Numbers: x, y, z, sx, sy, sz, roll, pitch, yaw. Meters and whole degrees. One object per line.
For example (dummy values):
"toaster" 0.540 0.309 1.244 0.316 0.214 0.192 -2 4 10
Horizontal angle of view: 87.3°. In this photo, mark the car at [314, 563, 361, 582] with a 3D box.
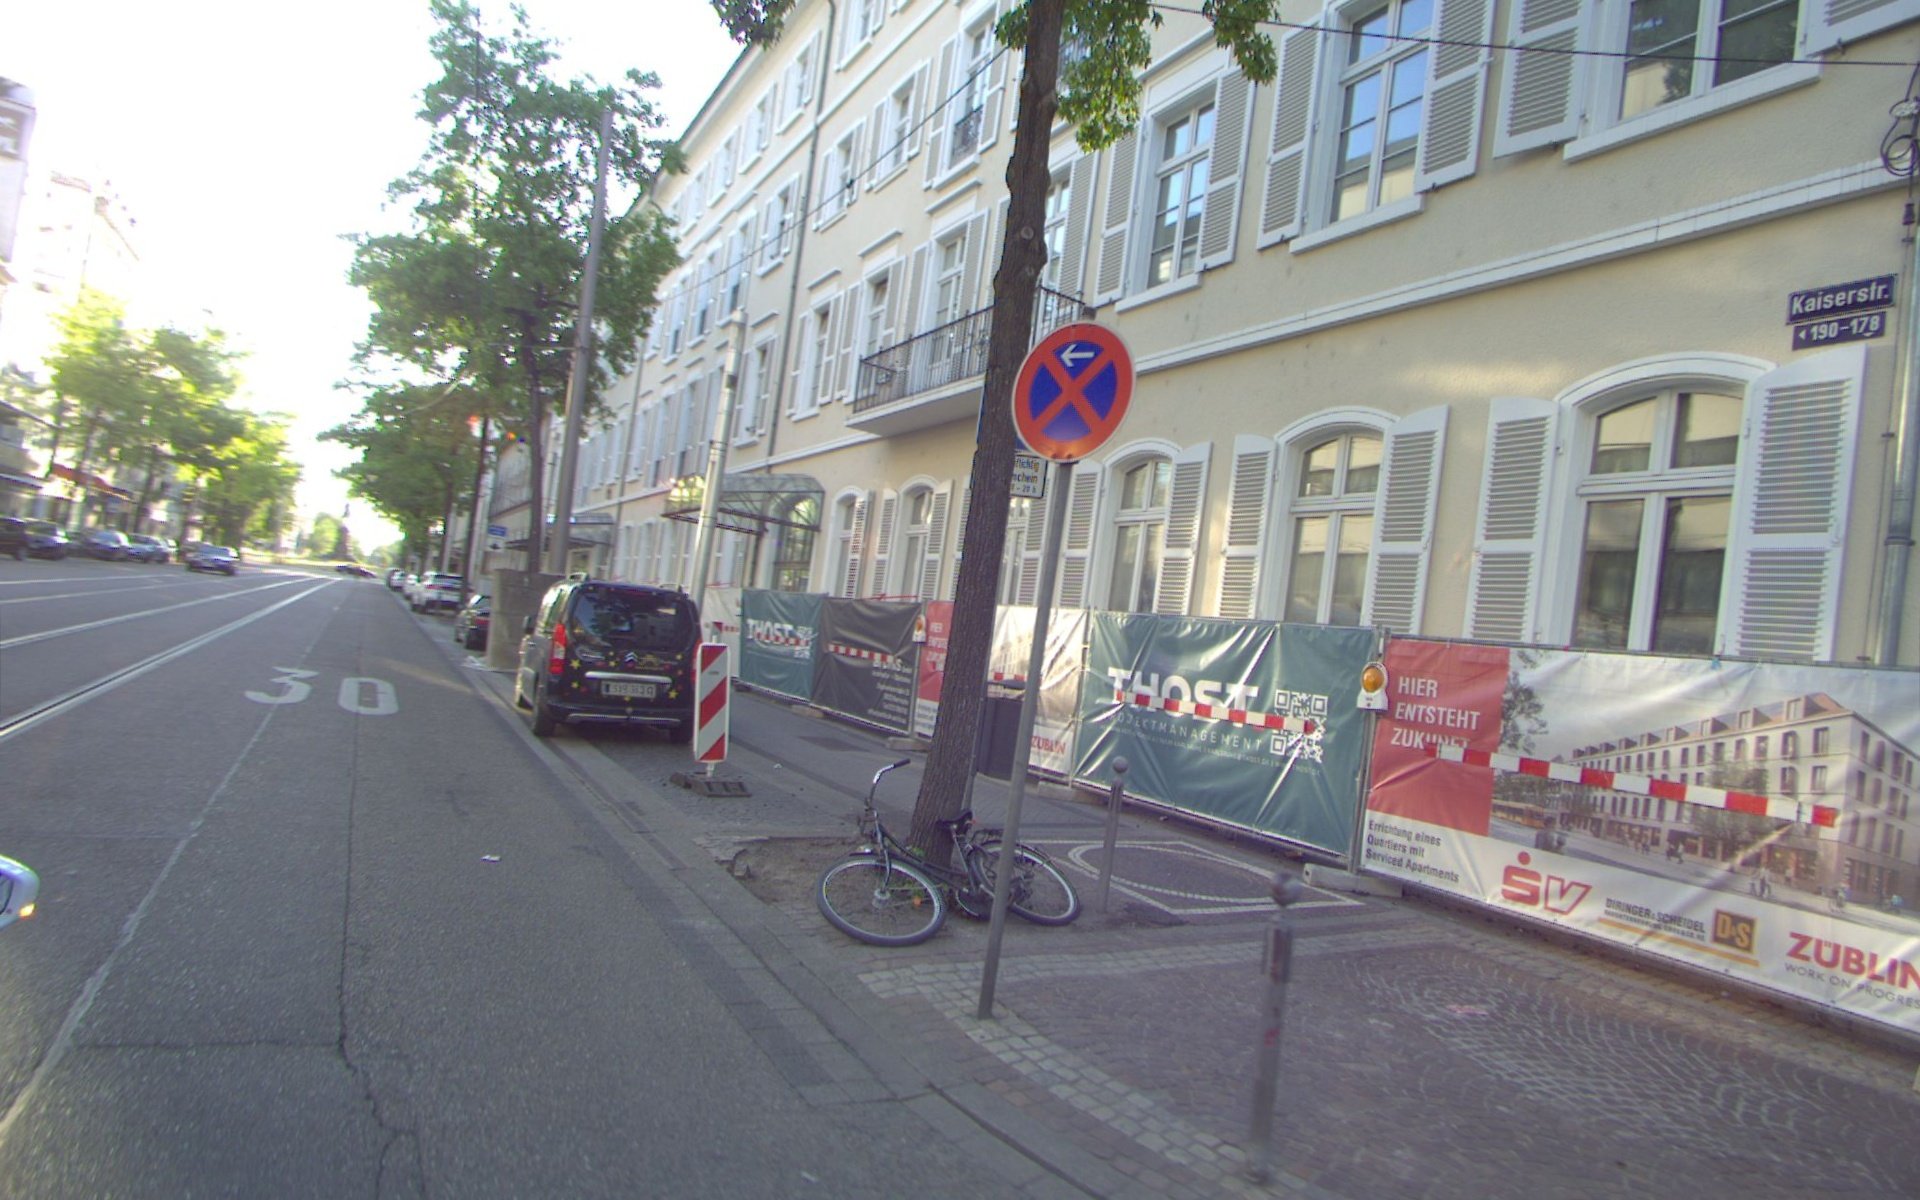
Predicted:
"car" -76.927 -3.389 124.465 4.639 1.702 1.986 9 -3 -29

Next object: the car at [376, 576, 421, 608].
"car" -30.413 -0.464 54.440 1.898 1.437 4.852 7 -2 -30

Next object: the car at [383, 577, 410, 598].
"car" -52.220 -1.190 93.187 1.923 1.781 4.645 5 -1 -30

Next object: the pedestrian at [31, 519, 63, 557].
"pedestrian" -44.643 -3.008 49.203 0.838 1.712 0.734 9 -2 -31

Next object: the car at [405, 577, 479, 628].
"car" -20.840 0.061 40.388 1.985 1.707 4.927 7 -3 -33

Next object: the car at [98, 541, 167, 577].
"car" -44.955 -2.194 54.725 1.752 1.513 4.152 9 -4 -25

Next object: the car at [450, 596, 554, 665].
"car" -11.239 0.688 24.525 1.780 1.326 4.298 7 -2 -30

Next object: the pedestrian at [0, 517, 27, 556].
"pedestrian" -45.546 -3.039 48.294 0.784 1.712 0.906 9 -2 -31

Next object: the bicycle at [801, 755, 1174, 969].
"bicycle" 0.055 1.435 5.745 1.729 0.756 1.561 7 -3 -13

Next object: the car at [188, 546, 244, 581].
"car" -37.155 -1.809 50.315 1.768 1.423 4.491 9 -3 -32

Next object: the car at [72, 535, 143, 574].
"car" -41.432 -2.175 48.991 1.701 1.476 4.453 11 -4 -30

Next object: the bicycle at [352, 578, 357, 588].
"bicycle" -60.323 -1.708 100.225 0.262 0.993 1.328 8 -2 -30

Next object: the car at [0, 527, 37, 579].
"car" -33.029 -1.724 33.550 1.612 1.633 3.700 10 -4 -15

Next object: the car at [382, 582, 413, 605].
"car" -43.549 -0.552 77.866 1.977 1.516 4.646 6 -1 -30

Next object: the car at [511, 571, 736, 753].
"car" -4.445 0.684 12.792 1.935 1.813 4.289 7 -2 -27

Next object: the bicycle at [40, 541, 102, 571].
"bicycle" -39.596 -1.954 44.835 1.956 1.012 0.328 10 -3 -28

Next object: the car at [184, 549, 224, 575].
"car" -60.618 -3.023 80.686 1.826 1.595 4.087 13 -5 -29

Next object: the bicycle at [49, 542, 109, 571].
"bicycle" -40.737 -1.999 46.558 1.956 1.012 0.328 10 -3 -29

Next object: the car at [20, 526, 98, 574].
"car" -36.667 -2.023 41.031 1.785 1.505 4.202 12 -5 -36
